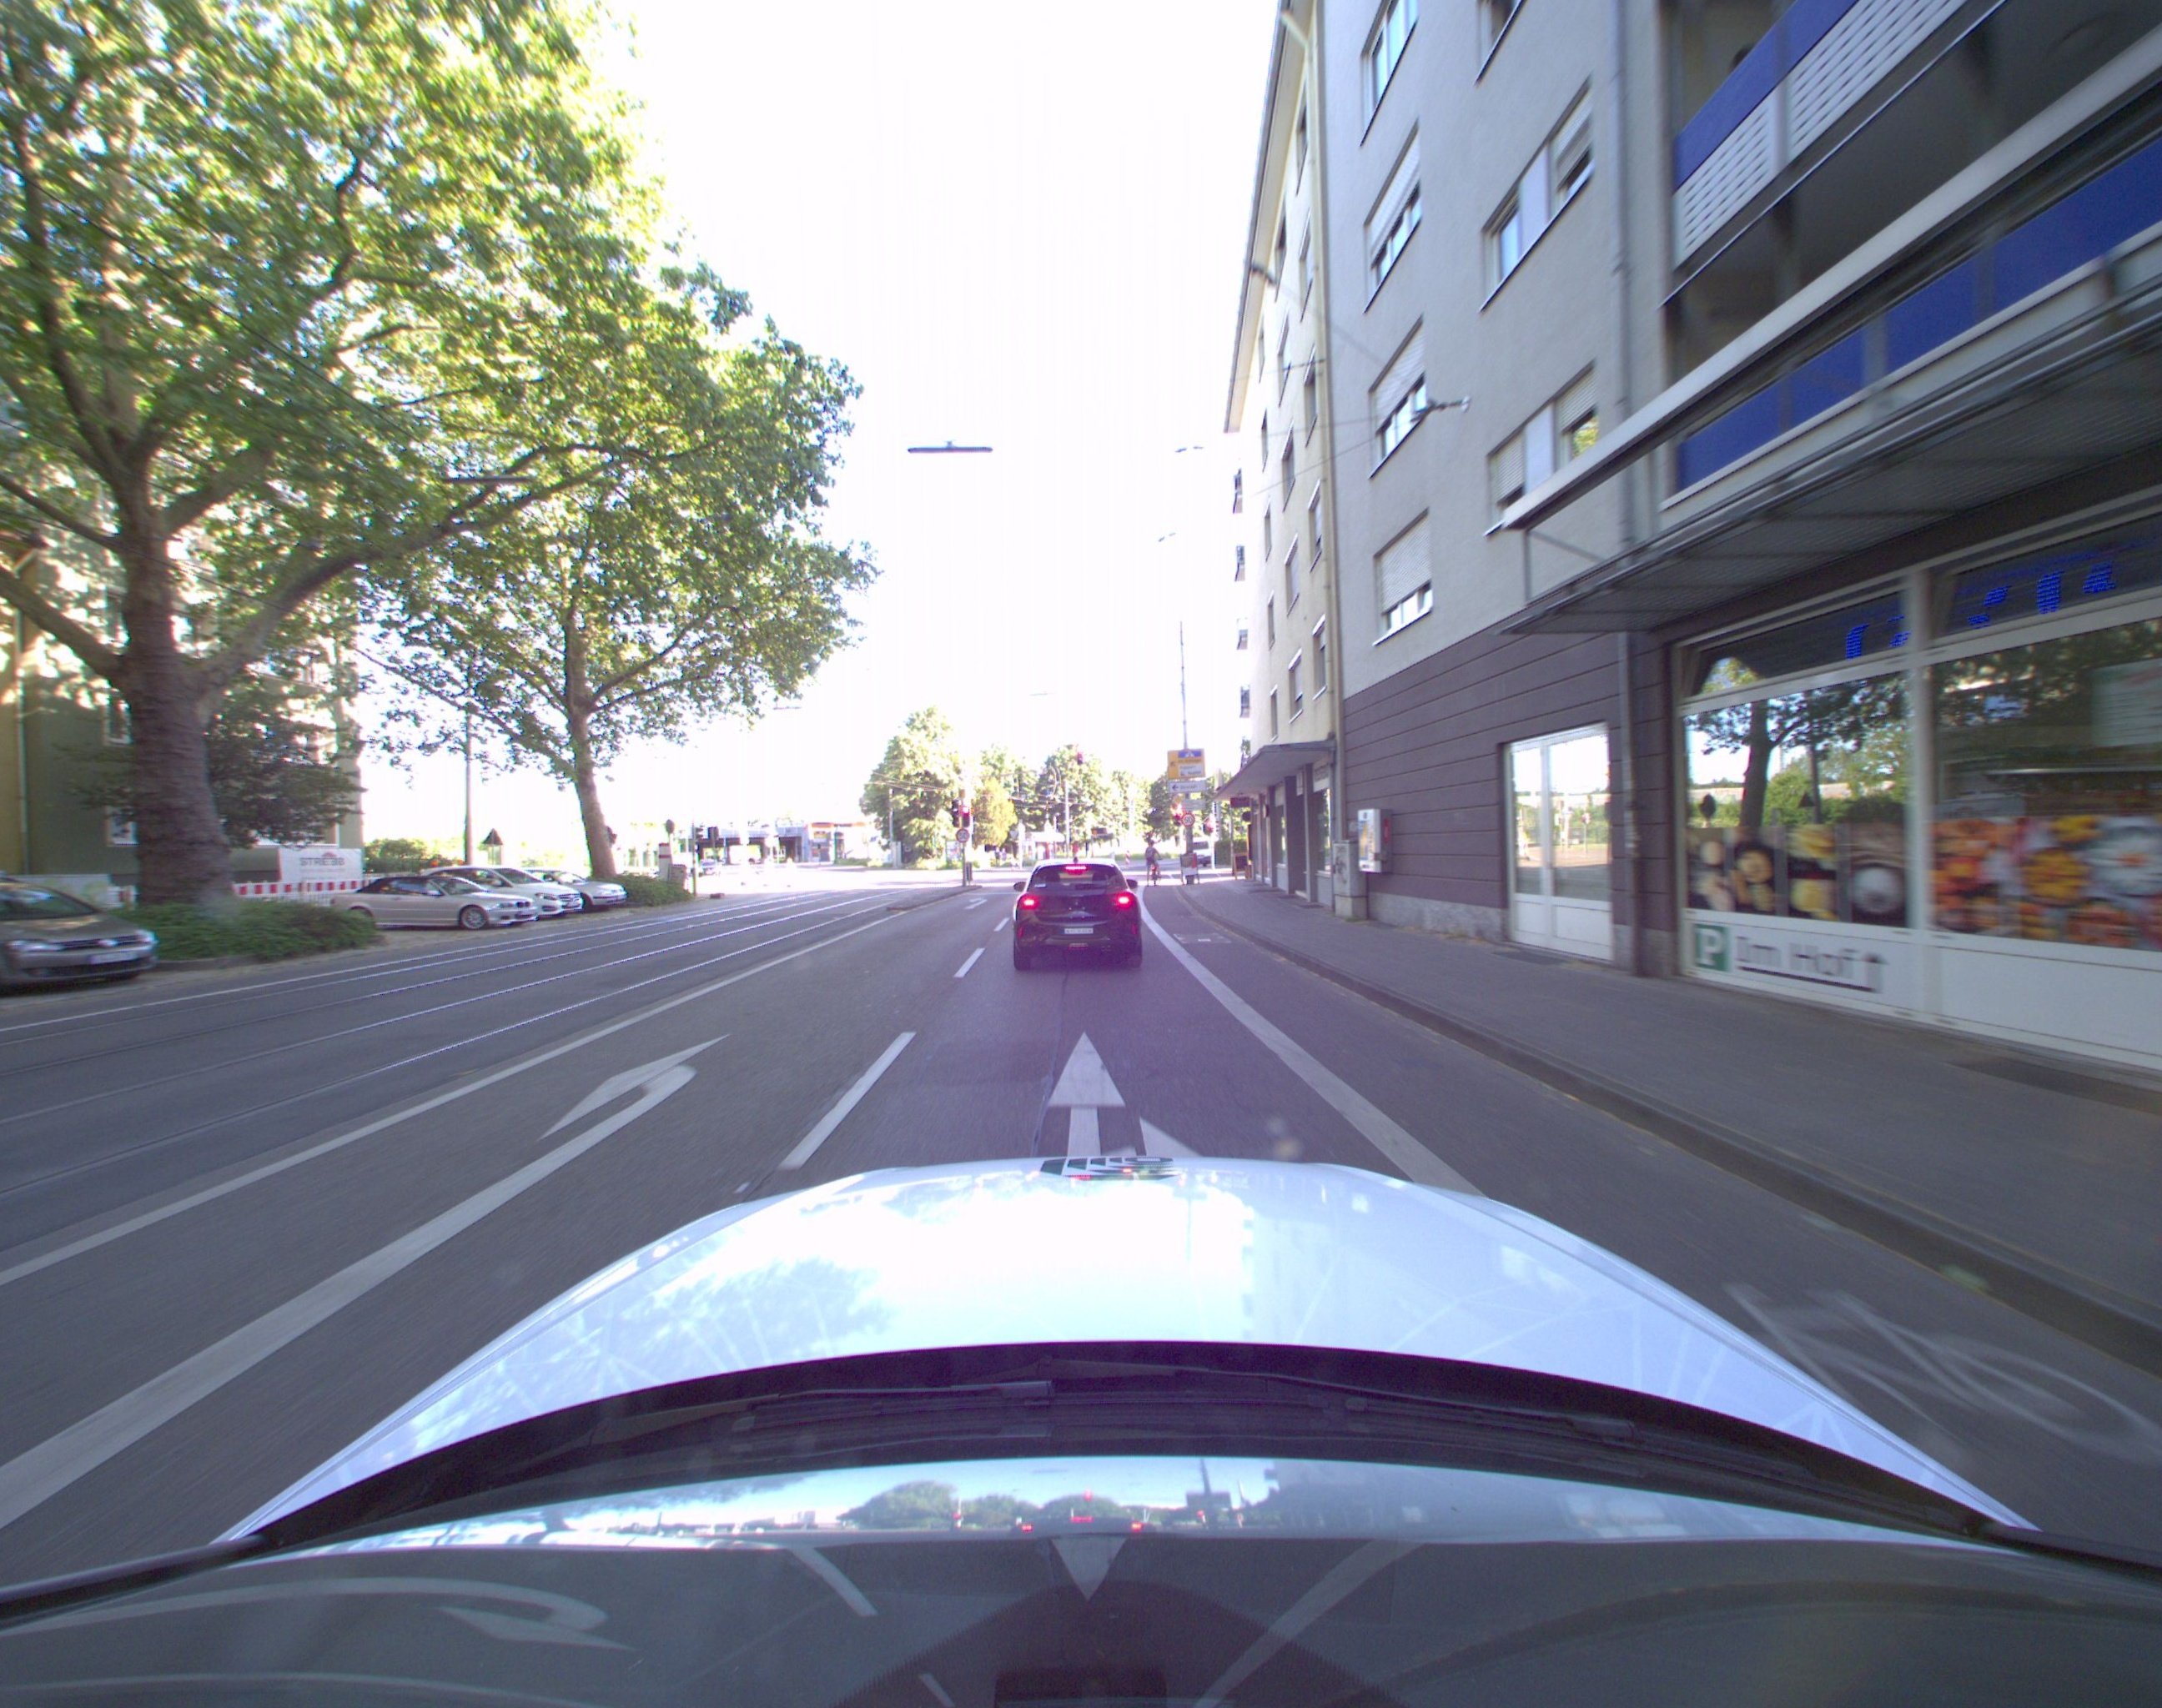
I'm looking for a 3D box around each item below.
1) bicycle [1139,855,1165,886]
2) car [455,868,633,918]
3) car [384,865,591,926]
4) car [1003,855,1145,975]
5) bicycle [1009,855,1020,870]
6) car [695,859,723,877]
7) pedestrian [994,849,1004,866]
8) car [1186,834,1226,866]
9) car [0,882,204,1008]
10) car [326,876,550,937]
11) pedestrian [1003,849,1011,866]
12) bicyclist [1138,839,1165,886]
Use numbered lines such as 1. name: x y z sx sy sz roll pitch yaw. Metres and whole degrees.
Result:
1. bicycle: 2.854 0.651 32.972 0.857 1.153 2.172 -2 0 0
2. car: -17.020 1.219 25.943 4.498 1.429 1.676 -1 0 -1
3. car: -16.959 1.157 23.440 4.595 1.618 1.798 0 0 -1
4. car: -0.049 0.760 12.162 1.721 1.429 4.188 -1 0 1
5. bicycle: -4.994 0.622 61.528 0.603 1.031 1.982 -2 0 1
6. car: -32.143 1.192 70.403 1.831 1.519 3.869 0 0 -19
7. pedestrian: -7.824 0.307 77.639 0.746 1.629 0.599 0 -1 7
8. car: 9.461 -0.338 61.432 2.047 2.248 4.911 -2 0 19
9. car: -15.767 1.245 11.777 4.174 1.605 1.815 0 0 0
10. car: -16.227 1.297 20.709 4.229 1.368 1.727 -1 0 -1
11. pedestrian: -7.022 0.305 77.576 0.633 1.629 0.573 0 -1 8
12. bicyclist: 2.839 0.335 32.894 0.938 1.851 0.864 -2 0 0
